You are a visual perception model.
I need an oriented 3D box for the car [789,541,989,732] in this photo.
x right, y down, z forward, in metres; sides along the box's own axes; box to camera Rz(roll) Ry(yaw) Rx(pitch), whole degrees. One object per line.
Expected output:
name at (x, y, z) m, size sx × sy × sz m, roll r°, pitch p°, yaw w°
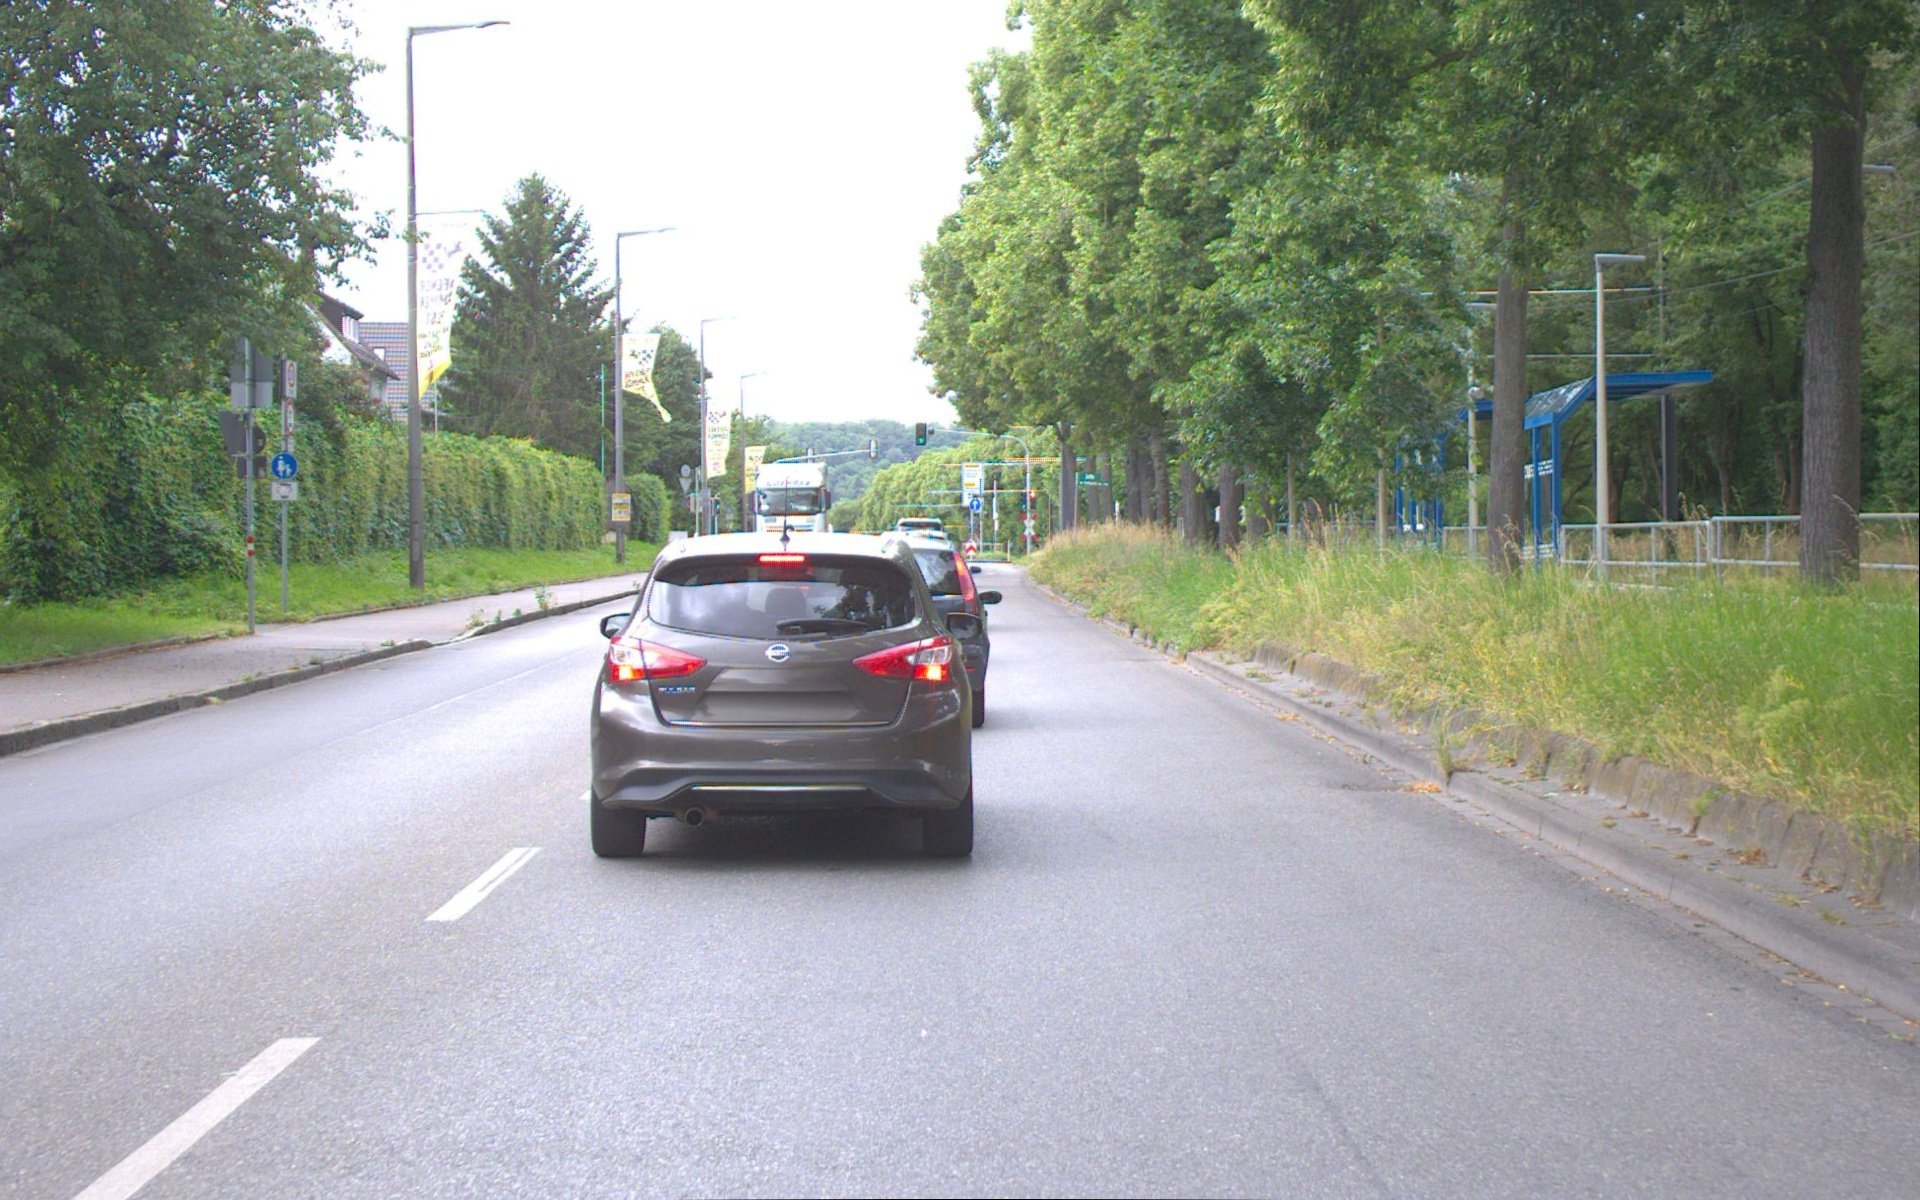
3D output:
car at (-0.570, 0.249, 27.852) m, size 1.502 × 1.436 × 3.542 m, roll 1°, pitch 1°, yaw -1°

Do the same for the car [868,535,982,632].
car at (-0.554, -0.271, 53.161) m, size 1.691 × 1.436 × 3.542 m, roll 1°, pitch 1°, yaw -1°

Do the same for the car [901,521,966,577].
car at (-0.725, -1.365, 91.979) m, size 1.691 × 1.436 × 3.542 m, roll 1°, pitch 1°, yaw -1°

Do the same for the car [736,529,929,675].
car at (-1.367, 0.021, 38.448) m, size 1.993 × 1.481 × 4.000 m, roll 2°, pitch 0°, yaw -1°

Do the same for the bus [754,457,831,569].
bus at (-6.179, -3.211, 127.868) m, size 2.487 × 4.012 × 10.218 m, roll 0°, pitch 1°, yaw -1°

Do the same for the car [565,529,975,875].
car at (-0.850, 0.431, 16.981) m, size 1.783 × 1.501 × 3.696 m, roll -1°, pitch 1°, yaw 0°
